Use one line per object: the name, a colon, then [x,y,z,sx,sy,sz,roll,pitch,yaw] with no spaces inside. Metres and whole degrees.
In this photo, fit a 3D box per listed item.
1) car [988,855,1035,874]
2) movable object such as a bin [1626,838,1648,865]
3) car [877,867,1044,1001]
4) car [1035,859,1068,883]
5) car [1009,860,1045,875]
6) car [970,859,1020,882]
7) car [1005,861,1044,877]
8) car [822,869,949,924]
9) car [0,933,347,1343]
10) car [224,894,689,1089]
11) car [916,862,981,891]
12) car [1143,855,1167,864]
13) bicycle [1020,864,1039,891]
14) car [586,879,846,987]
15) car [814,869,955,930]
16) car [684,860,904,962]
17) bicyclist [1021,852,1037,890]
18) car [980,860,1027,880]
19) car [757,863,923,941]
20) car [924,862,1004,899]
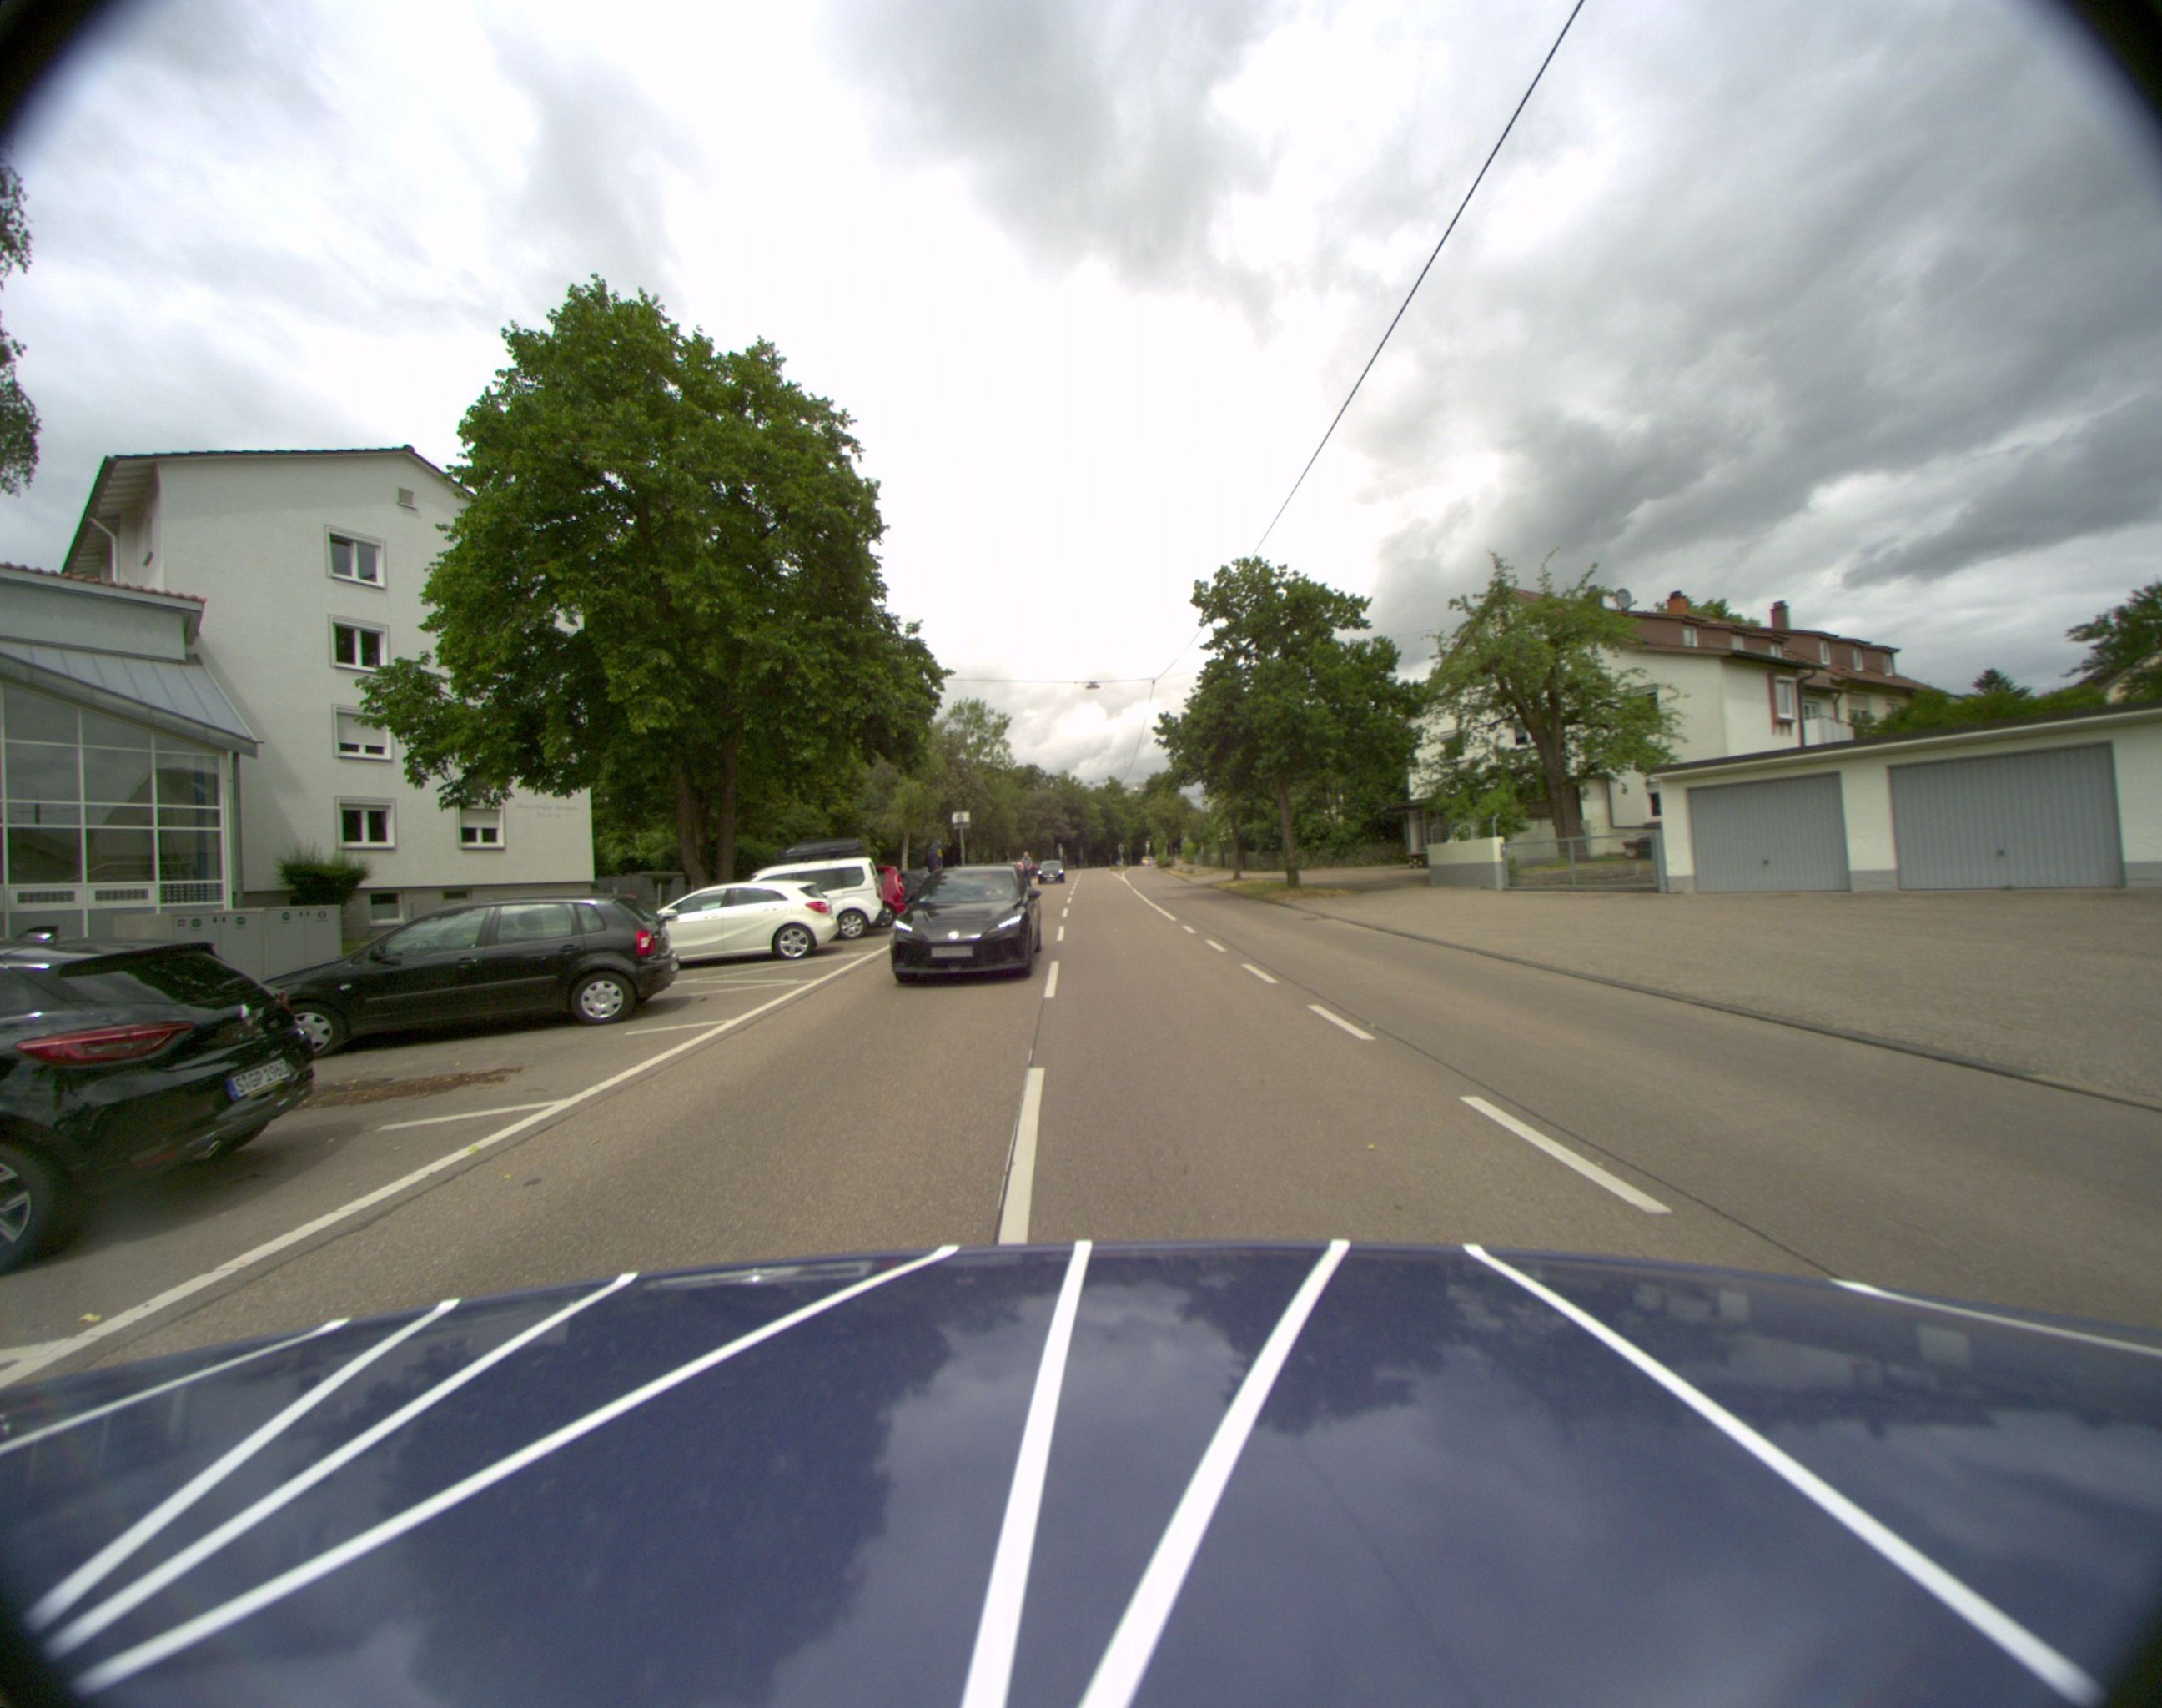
car: [-6.060,0.868,65.970,3.857,1.378,1.654,-4,1,-7]
movable object such as a bin: [18.483,-0.073,25.268,0.460,0.877,0.388,-3,1,-29]
car: [-1.563,1.017,11.214,1.813,1.484,3.793,-2,0,0]
car: [-1.863,1.067,49.590,1.861,1.366,4.076,-3,0,1]
car: [-6.071,1.542,84.977,3.857,1.378,1.654,-4,1,-7]
car: [-6.907,1.319,61.013,3.857,1.553,1.654,-4,1,-7]
car: [-5.772,1.529,77.419,3.857,1.378,1.654,-4,1,-7]
car: [-6.399,1.347,25.084,3.859,1.426,1.653,-4,1,-14]
car: [-6.102,1.342,3.212,3.860,1.426,1.712,-4,3,-23]
car: [-6.485,1.347,8.417,3.516,1.455,1.713,-4,1,-20]
car: [-8.631,1.457,49.460,3.860,1.549,1.652,-4,1,-19]
car: [13.451,1.045,138.506,4.006,1.401,1.796,-3,0,-35]
bicycle: [-2.497,1.100,36.798,0.648,1.230,1.875,-3,0,-10]
car: [-6.360,1.336,13.693,3.859,1.430,1.714,-4,1,-14]
car: [-5.826,1.316,22.732,3.859,1.426,1.653,-4,1,-14]
car: [-6.303,1.171,16.868,4.226,1.748,1.856,-4,1,-24]
bicyclist: [-2.500,0.804,36.676,0.648,1.768,0.627,-2,1,-11]
car: [-6.516,1.305,63.795,3.857,1.378,1.654,-4,1,-7]
car: [-6.202,1.195,19.913,3.859,1.634,1.851,-4,1,-14]
car: [-6.185,1.375,40.200,3.860,1.603,1.652,-4,1,-19]
